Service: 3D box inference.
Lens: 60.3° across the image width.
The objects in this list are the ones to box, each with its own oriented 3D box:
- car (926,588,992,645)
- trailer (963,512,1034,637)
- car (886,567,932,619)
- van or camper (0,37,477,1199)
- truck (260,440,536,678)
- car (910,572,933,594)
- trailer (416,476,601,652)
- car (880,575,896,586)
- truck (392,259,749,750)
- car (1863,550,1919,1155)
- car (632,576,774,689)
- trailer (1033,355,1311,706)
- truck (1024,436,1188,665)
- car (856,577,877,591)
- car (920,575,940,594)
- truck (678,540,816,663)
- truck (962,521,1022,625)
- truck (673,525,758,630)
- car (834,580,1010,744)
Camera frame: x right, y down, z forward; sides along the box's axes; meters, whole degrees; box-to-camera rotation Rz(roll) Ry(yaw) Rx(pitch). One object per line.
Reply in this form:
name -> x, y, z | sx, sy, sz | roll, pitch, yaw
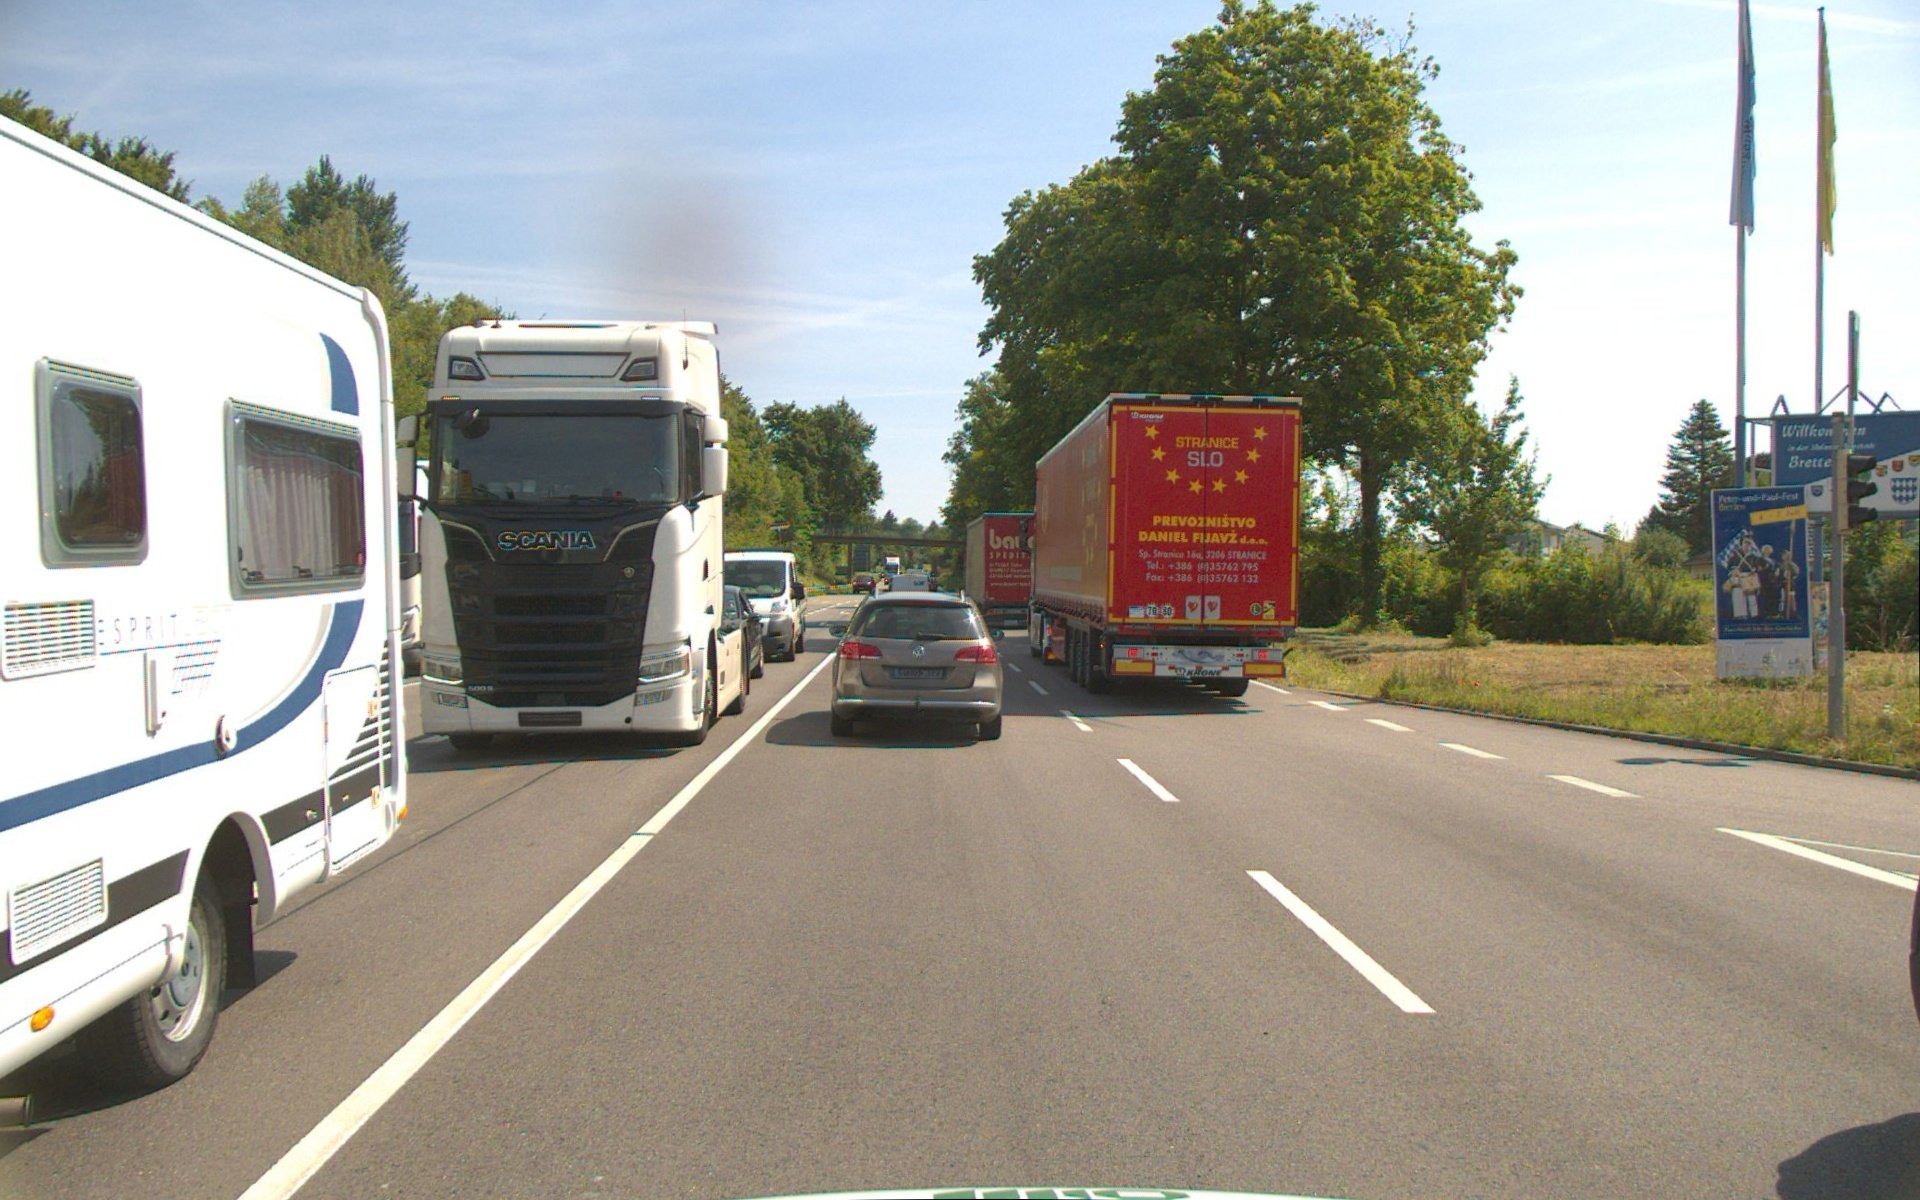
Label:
car -> -0.081, 0.453, 48.094 | 1.735, 1.539, 3.998 | -1, 0, -2
trailer -> 1.348, -0.917, 63.919 | 2.346, 4.317, 13.077 | -1, 0, 0
car -> -2.066, -0.287, 66.304 | 1.735, 1.970, 3.976 | -1, 0, -2
van or camper -> -3.184, 0.134, 3.665 | 2.283, 2.645, 6.977 | -1, 0, -1
truck -> -11.231, -0.759, 34.275 | 2.773, 4.188, 9.677 | -1, 0, -3
car -> -3.557, -1.558, 152.538 | 1.953, 2.049, 3.998 | -1, 0, -2
trailer -> -11.663, -0.873, 43.608 | 2.783, 4.141, 8.751 | -1, 0, -3
car -> -9.507, -2.532, 219.831 | 1.923, 1.439, 4.000 | -1, 0, 0
truck -> -3.719, -0.840, 17.261 | 2.486, 4.159, 6.262 | -1, 0, -3
car -> 3.545, 0.696, 2.863 | 1.734, 1.683, 3.999 | -1, 0, -1
car -> -3.898, 0.459, 25.703 | 1.676, 1.578, 4.107 | -1, 0, -2
trailer -> 3.010, -0.915, 27.765 | 2.781, 4.441, 13.165 | 1, 0, -1
truck -> 2.924, -0.963, 34.740 | 2.811, 4.355, 5.838 | 1, 0, -1
car -> -9.267, -1.544, 164.531 | 1.758, 1.369, 3.769 | -1, 0, 2
car -> -3.209, -1.632, 176.794 | 1.953, 2.049, 3.998 | -1, 0, -2
truck -> -4.343, 0.012, 34.766 | 2.182, 2.307, 6.498 | -1, 0, -2
truck -> 1.290, -1.108, 69.758 | 2.357, 4.200, 5.521 | -1, 0, 0
truck -> -8.820, -0.790, 60.346 | 2.296, 3.582, 6.694 | -1, 0, -2
car -> -0.443, 0.586, 17.831 | 1.657, 1.539, 3.998 | -1, 0, -2
